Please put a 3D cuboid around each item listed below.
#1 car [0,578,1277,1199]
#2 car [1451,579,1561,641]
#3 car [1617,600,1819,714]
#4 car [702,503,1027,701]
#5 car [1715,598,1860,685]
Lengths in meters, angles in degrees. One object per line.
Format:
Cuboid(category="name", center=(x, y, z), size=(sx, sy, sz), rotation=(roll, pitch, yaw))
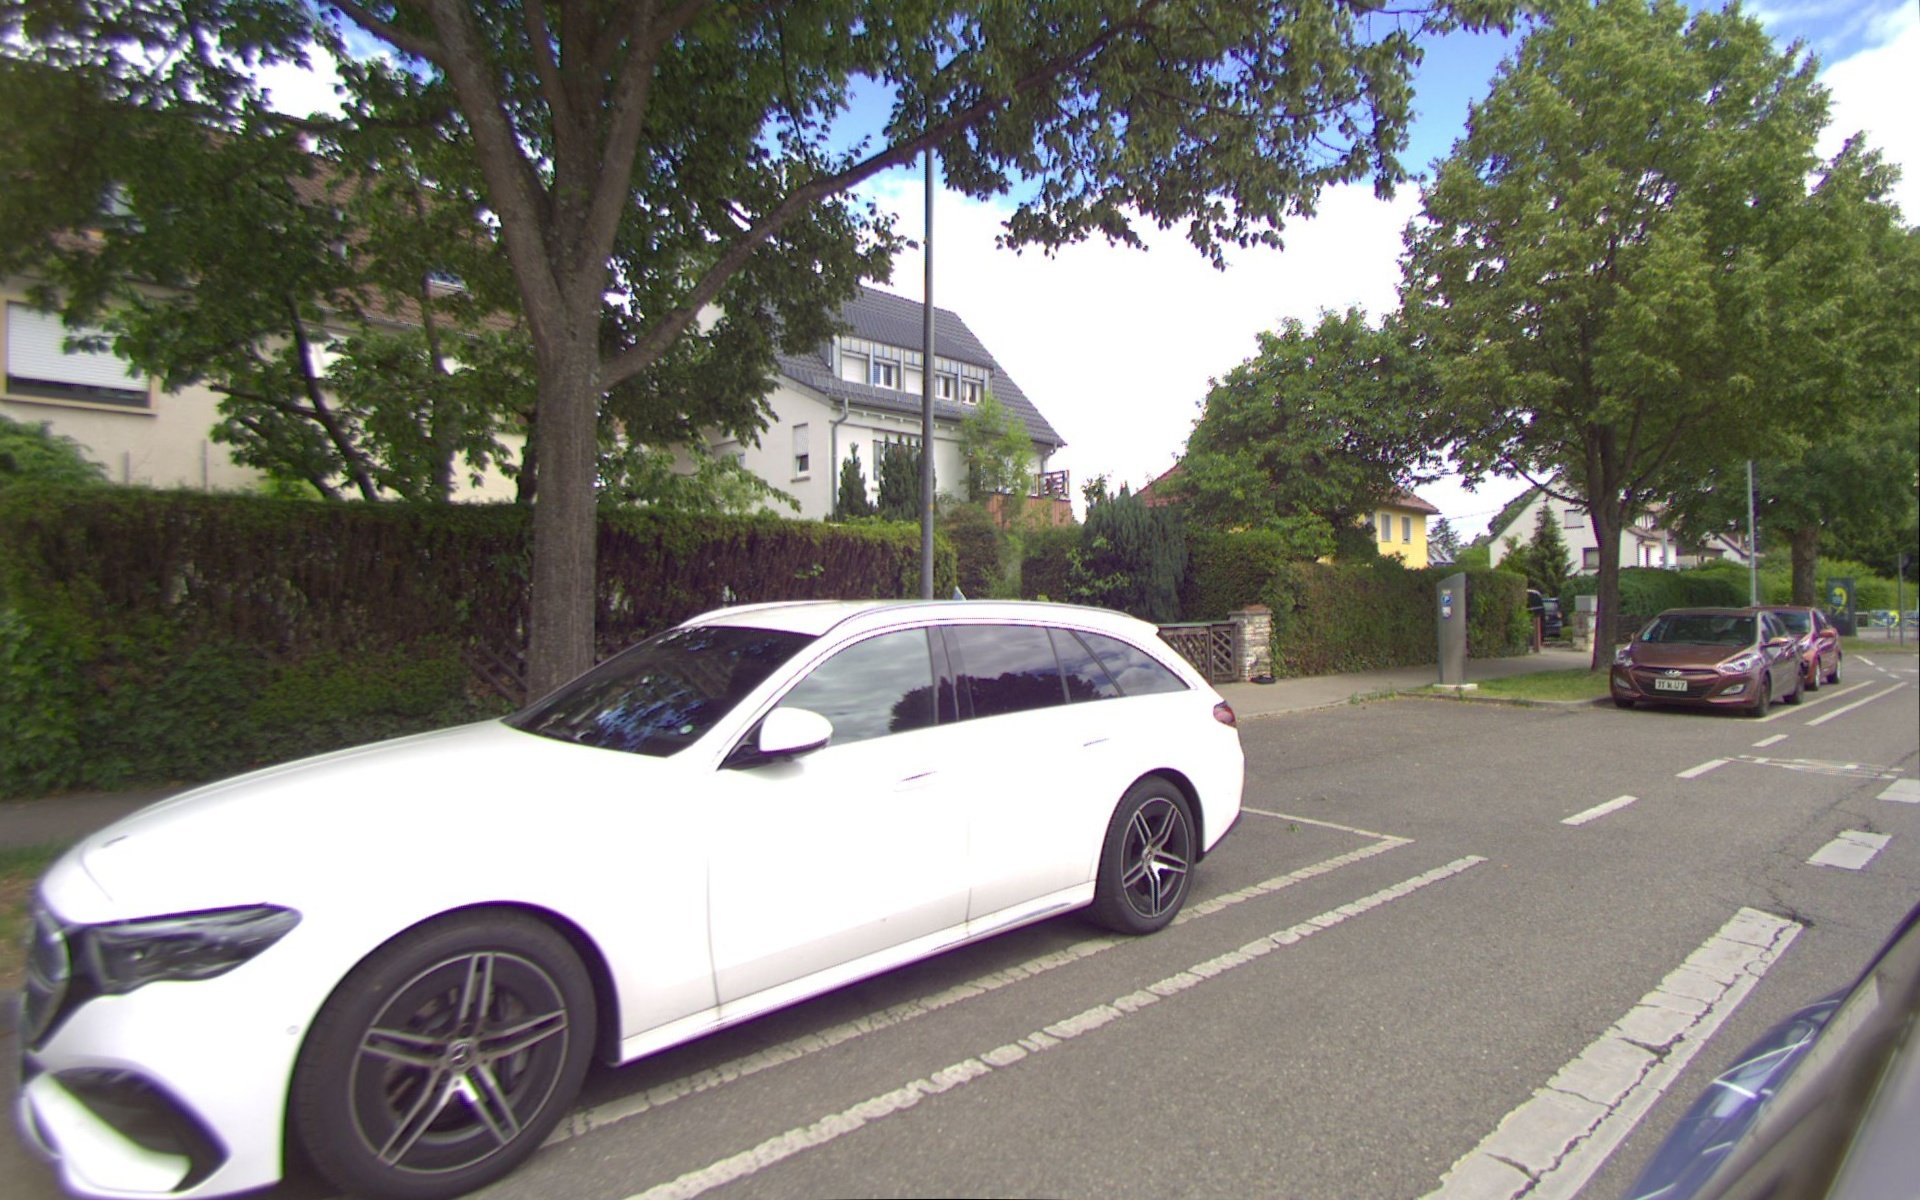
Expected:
Cuboid(category="car", center=(-0.729, 0.696, 4.175), size=(4.731, 1.493, 1.807), rotation=(0, 0, -43))
Cuboid(category="car", center=(18.143, 0.333, 33.546), size=(4.392, 1.905, 1.817), rotation=(0, -2, -42))
Cuboid(category="car", center=(11.288, 0.731, 14.976), size=(4.105, 1.434, 1.655), rotation=(0, 1, -42))
Cuboid(category="car", center=(-1.729, 0.054, 16.112), size=(5.714, 2.625, 1.965), rotation=(-1, -1, 45))
Cuboid(category="car", center=(15.603, 0.712, 19.030), size=(3.605, 1.474, 1.567), rotation=(0, 0, -42))
